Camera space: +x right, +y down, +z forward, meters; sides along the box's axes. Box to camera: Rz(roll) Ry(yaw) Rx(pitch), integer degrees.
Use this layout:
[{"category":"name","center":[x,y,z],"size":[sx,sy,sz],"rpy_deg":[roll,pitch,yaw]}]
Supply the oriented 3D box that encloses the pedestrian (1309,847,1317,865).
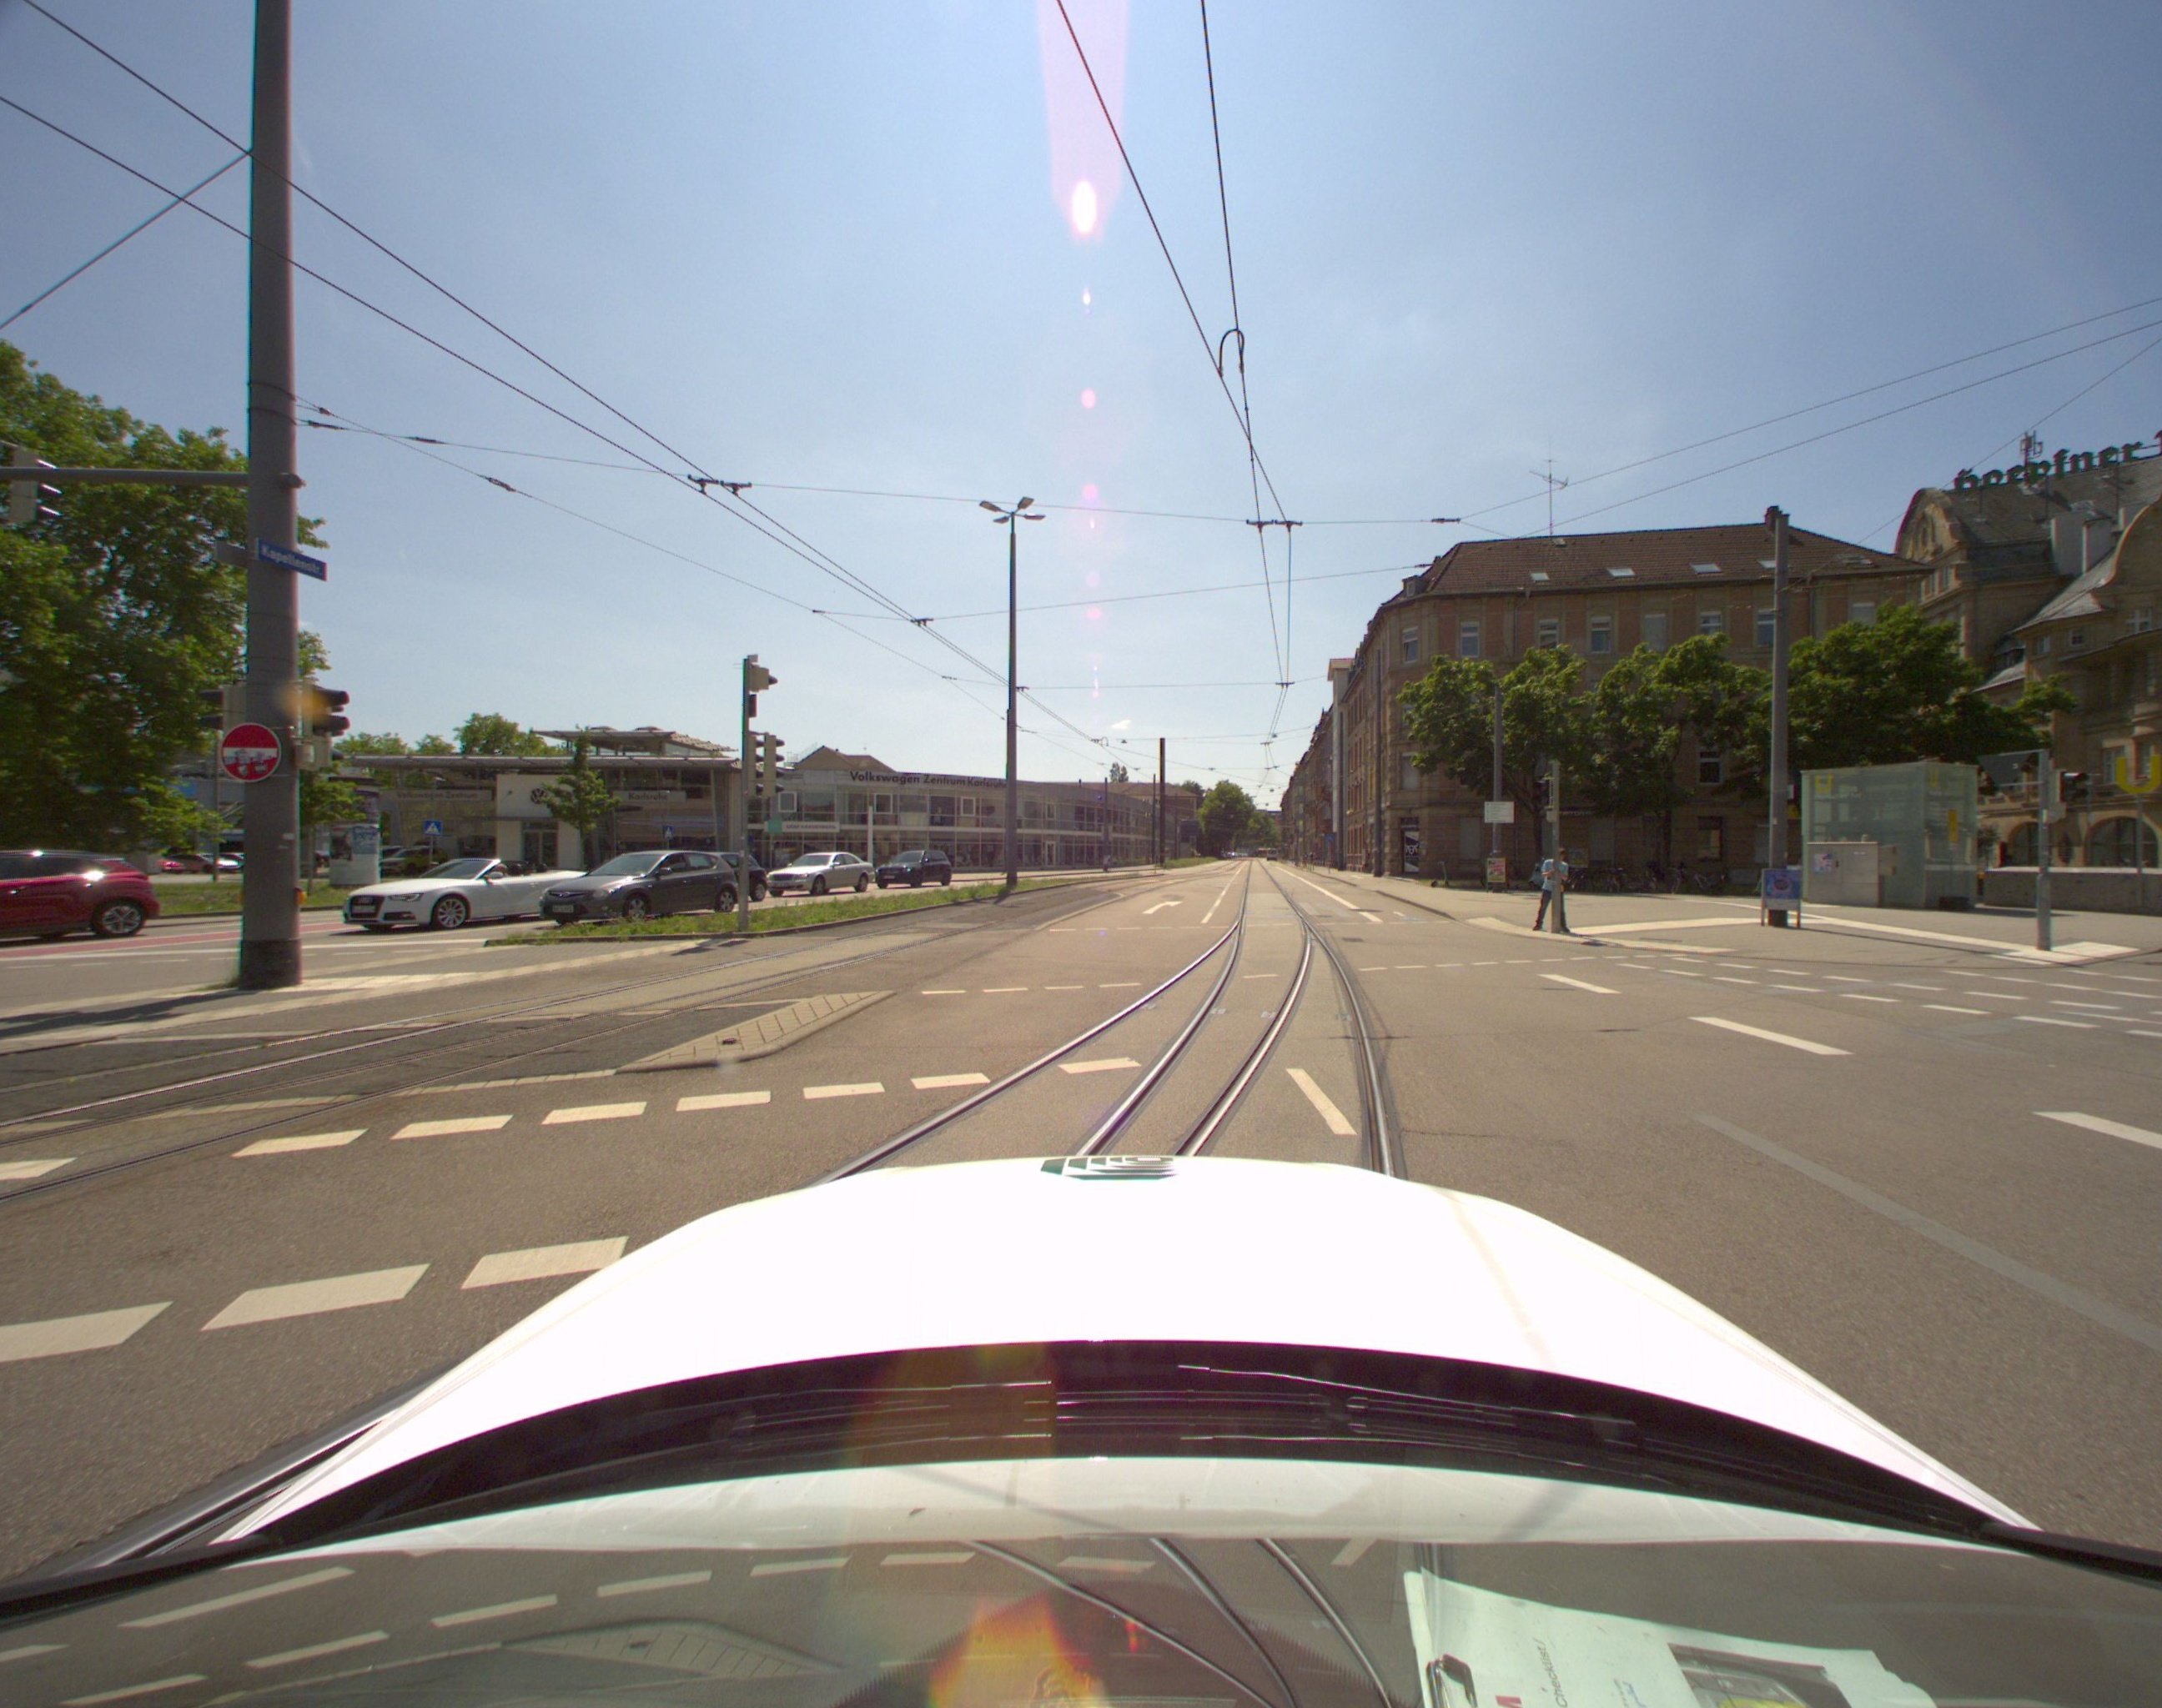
[{"category":"pedestrian","center":[27.217,0.244,95.624],"size":[0.763,2.014,0.665],"rpy_deg":[2,-1,9]}]

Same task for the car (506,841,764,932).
[{"category":"car","center":[-9.063,0.577,17.166],"size":[1.979,1.637,4.864],"rpy_deg":[0,0,14]}]

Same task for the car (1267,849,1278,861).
[{"category":"car","center":[38.055,0.140,161.723],"size":[1.980,2.181,4.383],"rpy_deg":[2,-1,12]}]

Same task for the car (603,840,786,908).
[{"category":"car","center":[-10.643,0.498,22.902],"size":[1.979,1.700,4.864],"rpy_deg":[0,0,14]}]

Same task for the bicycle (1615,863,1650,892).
[{"category":"bicycle","center":[22.206,0.939,32.816],"size":[0.547,1.120,1.896],"rpy_deg":[0,0,13]}]

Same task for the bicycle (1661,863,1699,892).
[{"category":"bicycle","center":[24.528,0.962,33.388],"size":[0.547,1.120,1.936],"rpy_deg":[0,0,13]}]

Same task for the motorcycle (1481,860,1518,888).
[{"category":"motorcycle","center":[17.156,0.800,33.420],"size":[0.578,1.074,1.946],"rpy_deg":[0,0,1]}]

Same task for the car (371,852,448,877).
[{"category":"car","center":[-42.687,0.648,51.899],"size":[1.765,1.510,4.315],"rpy_deg":[0,0,-7]}]

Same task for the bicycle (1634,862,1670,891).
[{"category":"bicycle","center":[23.336,0.888,33.314],"size":[0.547,1.120,1.877],"rpy_deg":[0,0,13]}]

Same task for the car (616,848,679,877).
[{"category":"car","center":[-27.387,0.549,51.609],"size":[1.916,1.707,3.996],"rpy_deg":[2,-1,-2]}]

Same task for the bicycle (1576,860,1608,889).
[{"category":"bicycle","center":[20.762,0.809,33.137],"size":[0.547,1.120,1.827],"rpy_deg":[0,0,13]}]

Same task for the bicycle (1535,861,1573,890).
[{"category":"bicycle","center":[19.410,0.880,33.473],"size":[0.440,1.146,2.096],"rpy_deg":[2,-1,4]}]

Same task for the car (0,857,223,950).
[{"category":"car","center":[-18.139,0.804,13.647],"size":[1.981,1.465,4.860],"rpy_deg":[0,0,11]}]

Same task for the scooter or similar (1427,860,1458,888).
[{"category":"scooter or similar","center":[15.984,0.862,36.033],"size":[1.802,1.181,0.592],"rpy_deg":[0,0,-43]}]

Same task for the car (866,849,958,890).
[{"category":"car","center":[-7.339,0.627,35.912],"size":[2.064,1.682,4.864],"rpy_deg":[0,0,14]}]

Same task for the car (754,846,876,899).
[{"category":"car","center":[-9.343,0.588,29.063],"size":[1.979,1.739,4.560],"rpy_deg":[0,0,14]}]

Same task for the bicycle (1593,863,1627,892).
[{"category":"bicycle","center":[21.393,0.935,32.962],"size":[0.547,1.120,1.827],"rpy_deg":[0,0,13]}]

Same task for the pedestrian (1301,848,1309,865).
[{"category":"pedestrian","center":[26.346,0.312,95.793],"size":[0.763,2.014,0.665],"rpy_deg":[2,-1,9]}]

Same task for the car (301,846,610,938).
[{"category":"car","center":[-12.386,0.654,16.674],"size":[2.063,1.580,4.860],"rpy_deg":[0,0,11]}]

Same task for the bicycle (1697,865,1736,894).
[{"category":"bicycle","center":[26.026,1.014,33.386],"size":[0.547,1.120,1.827],"rpy_deg":[0,0,13]}]

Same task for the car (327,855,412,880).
[{"category":"car","center":[-45.401,0.817,52.109],"size":[1.762,1.510,4.323],"rpy_deg":[0,0,-2]}]

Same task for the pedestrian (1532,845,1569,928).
[{"category":"pedestrian","center":[9.851,0.677,17.098],"size":[0.458,1.708,0.641],"rpy_deg":[0,0,5]}]

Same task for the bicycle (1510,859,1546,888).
[{"category":"bicycle","center":[18.269,0.794,33.316],"size":[0.548,1.120,1.822],"rpy_deg":[0,0,4]}]
